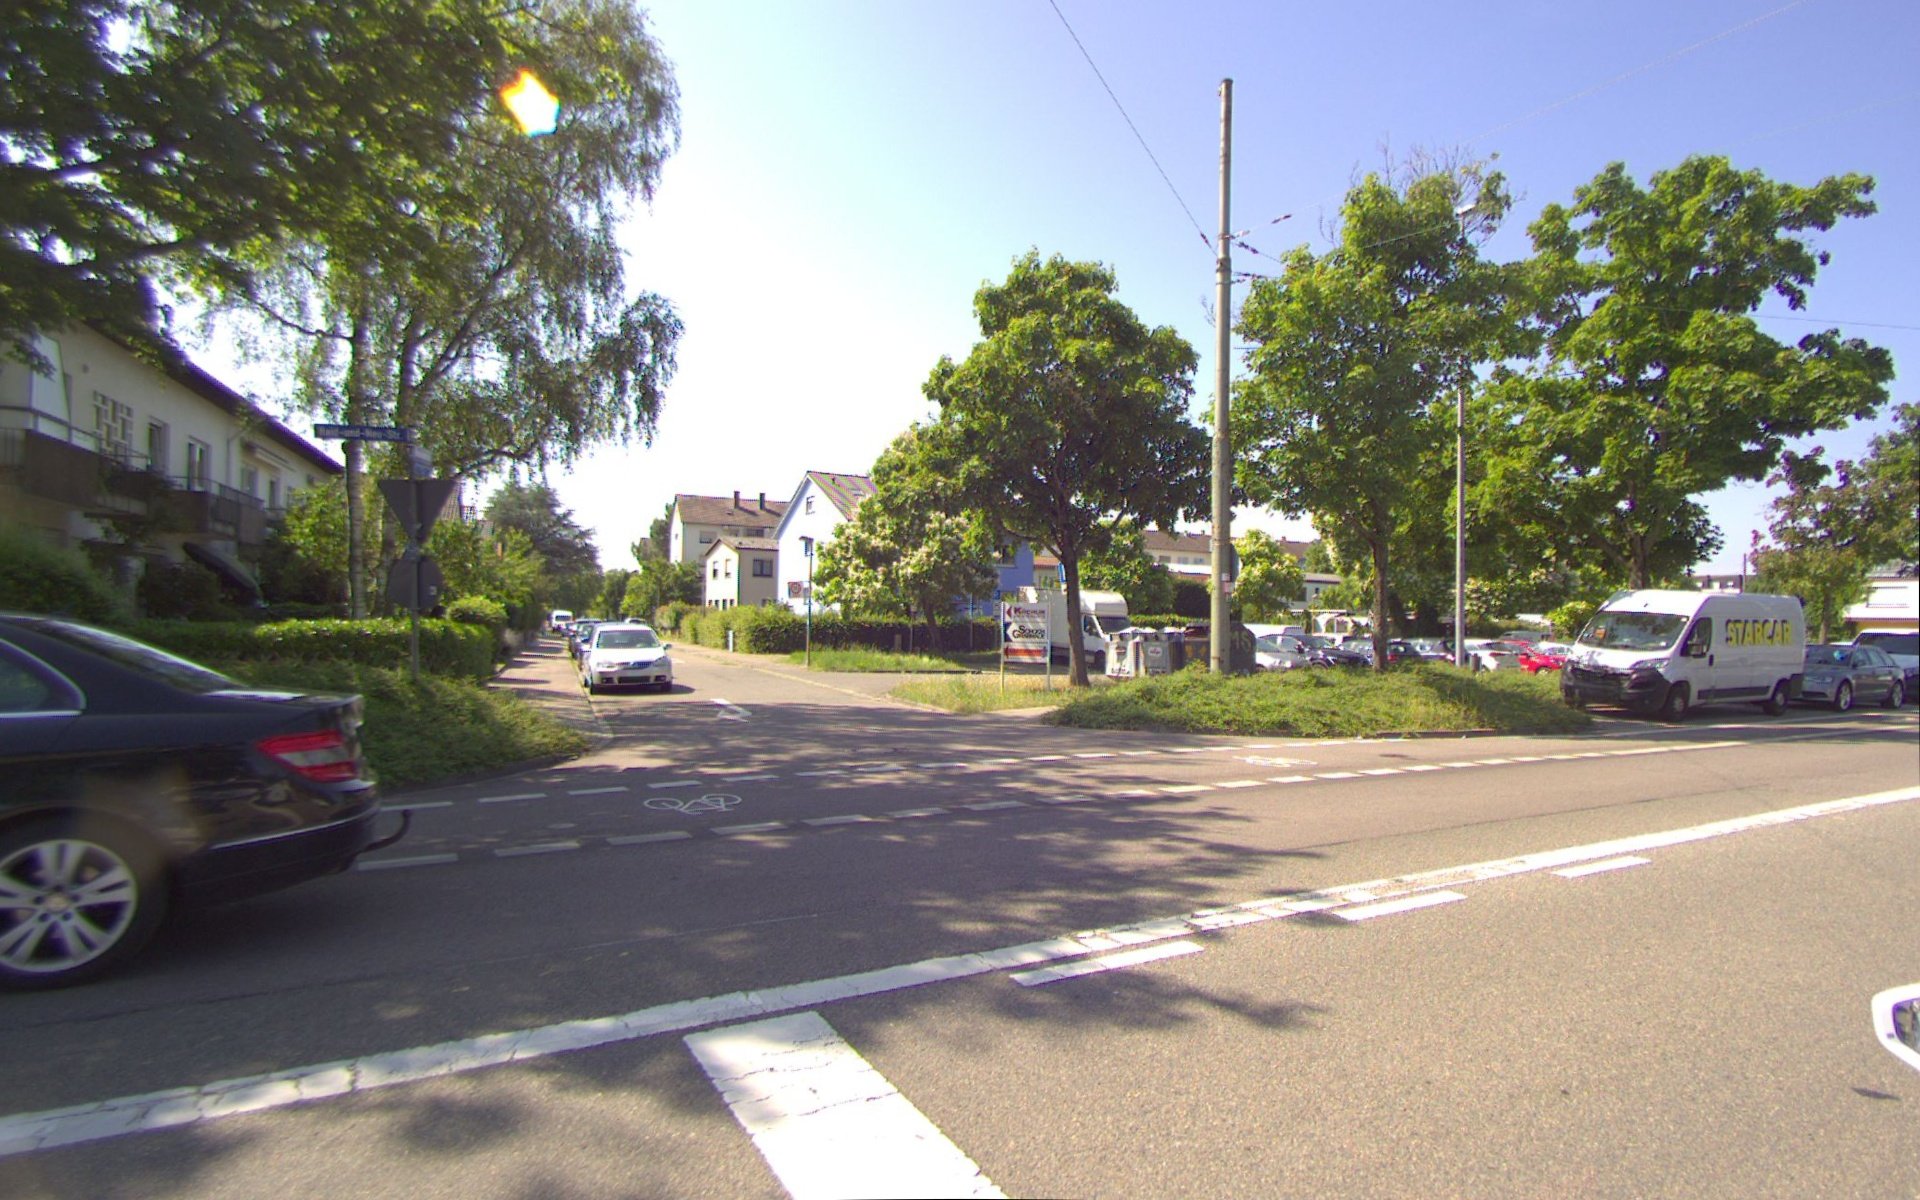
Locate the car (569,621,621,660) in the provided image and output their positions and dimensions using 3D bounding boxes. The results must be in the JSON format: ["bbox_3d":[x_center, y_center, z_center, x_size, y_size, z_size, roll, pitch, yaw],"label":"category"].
[{"bbox_3d":[-14.999,1.637,41.224,1.740,1.475,3.978,2,-2,-23],"label":"car"}]

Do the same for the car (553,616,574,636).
[{"bbox_3d":[-43.337,2.852,109.896,1.970,2.040,3.981,1,-2,-21],"label":"car"}]

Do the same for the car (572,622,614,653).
[{"bbox_3d":[-18.699,1.890,51.054,1.740,1.475,3.977,2,-2,-23],"label":"car"}]

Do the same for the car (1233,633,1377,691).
[{"bbox_3d":[10.279,1.814,30.208,1.645,1.564,3.966,2,-2,-31],"label":"car"}]

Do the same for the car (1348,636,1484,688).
[{"bbox_3d":[15.182,2.038,33.630,1.644,1.564,3.968,2,-2,-30],"label":"car"}]

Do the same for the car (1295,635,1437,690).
[{"bbox_3d":[12.706,1.922,31.668,1.645,1.564,3.966,2,-2,-31],"label":"car"}]

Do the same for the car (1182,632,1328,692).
[{"bbox_3d":[8.355,1.727,28.751,1.645,1.564,3.966,2,-2,-31],"label":"car"}]

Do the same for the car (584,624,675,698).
[{"bbox_3d":[-7.701,1.335,23.222,1.781,1.545,3.980,0,-1,-21],"label":"car"}]

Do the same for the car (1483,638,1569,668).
[{"bbox_3d":[32.343,3.007,57.508,1.767,1.564,3.964,2,-2,-33],"label":"car"}]

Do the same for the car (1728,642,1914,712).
[{"bbox_3d":[20.331,1.757,23.681,4.829,1.474,1.922,2,-2,-31],"label":"car"}]

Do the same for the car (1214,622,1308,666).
[{"bbox_3d":[13.815,1.990,46.331,1.767,1.915,3.964,2,-2,-33],"label":"car"}]

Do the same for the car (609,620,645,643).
[{"bbox_3d":[-24.627,2.340,74.237,1.974,1.649,3.973,2,-2,-27],"label":"car"}]

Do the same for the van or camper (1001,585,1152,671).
[{"bbox_3d":[4.751,1.159,42.357,2.553,3.287,6.912,2,-2,-32],"label":"van or camper"}]

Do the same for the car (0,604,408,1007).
[{"bbox_3d":[-4.602,0.731,3.891,4.255,1.428,1.777,2,-3,-31],"label":"car"}]

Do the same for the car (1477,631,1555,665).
[{"bbox_3d":[35.277,3.013,63.793,1.891,2.029,3.964,2,-2,-33],"label":"car"}]

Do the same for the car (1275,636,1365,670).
[{"bbox_3d":[17.740,2.581,49.635,1.767,1.564,3.964,2,-2,-33],"label":"car"}]

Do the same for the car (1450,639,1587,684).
[{"bbox_3d":[19.762,2.143,35.696,1.712,1.428,3.968,2,-2,-30],"label":"car"}]

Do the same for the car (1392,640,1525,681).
[{"bbox_3d":[17.187,2.063,34.773,1.644,1.287,3.897,2,-2,-30],"label":"car"}]

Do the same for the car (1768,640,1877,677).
[{"bbox_3d":[44.074,2.962,51.409,1.645,1.716,3.966,2,-2,-31],"label":"car"}]

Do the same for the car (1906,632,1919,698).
[{"bbox_3d":[31.389,2.010,30.763,5.124,1.966,2.185,2,-2,-30],"label":"car"}]

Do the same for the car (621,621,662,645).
[{"bbox_3d":[-21.378,2.185,67.397,1.974,1.505,3.973,2,-2,-27],"label":"car"}]

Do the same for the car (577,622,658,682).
[{"bbox_3d":[-9.552,1.400,27.850,1.782,1.545,3.978,2,-2,-23],"label":"car"}]

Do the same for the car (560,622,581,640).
[{"bbox_3d":[-36.238,2.865,93.487,1.718,1.550,3.897,2,-2,-21],"label":"car"}]

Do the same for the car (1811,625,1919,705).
[{"bbox_3d":[25.428,1.718,27.380,5.132,1.966,2.182,2,-2,-35],"label":"car"}]

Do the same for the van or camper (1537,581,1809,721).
[{"bbox_3d":[14.852,1.045,20.827,6.073,2.548,2.247,2,-2,-29],"label":"van or camper"}]
